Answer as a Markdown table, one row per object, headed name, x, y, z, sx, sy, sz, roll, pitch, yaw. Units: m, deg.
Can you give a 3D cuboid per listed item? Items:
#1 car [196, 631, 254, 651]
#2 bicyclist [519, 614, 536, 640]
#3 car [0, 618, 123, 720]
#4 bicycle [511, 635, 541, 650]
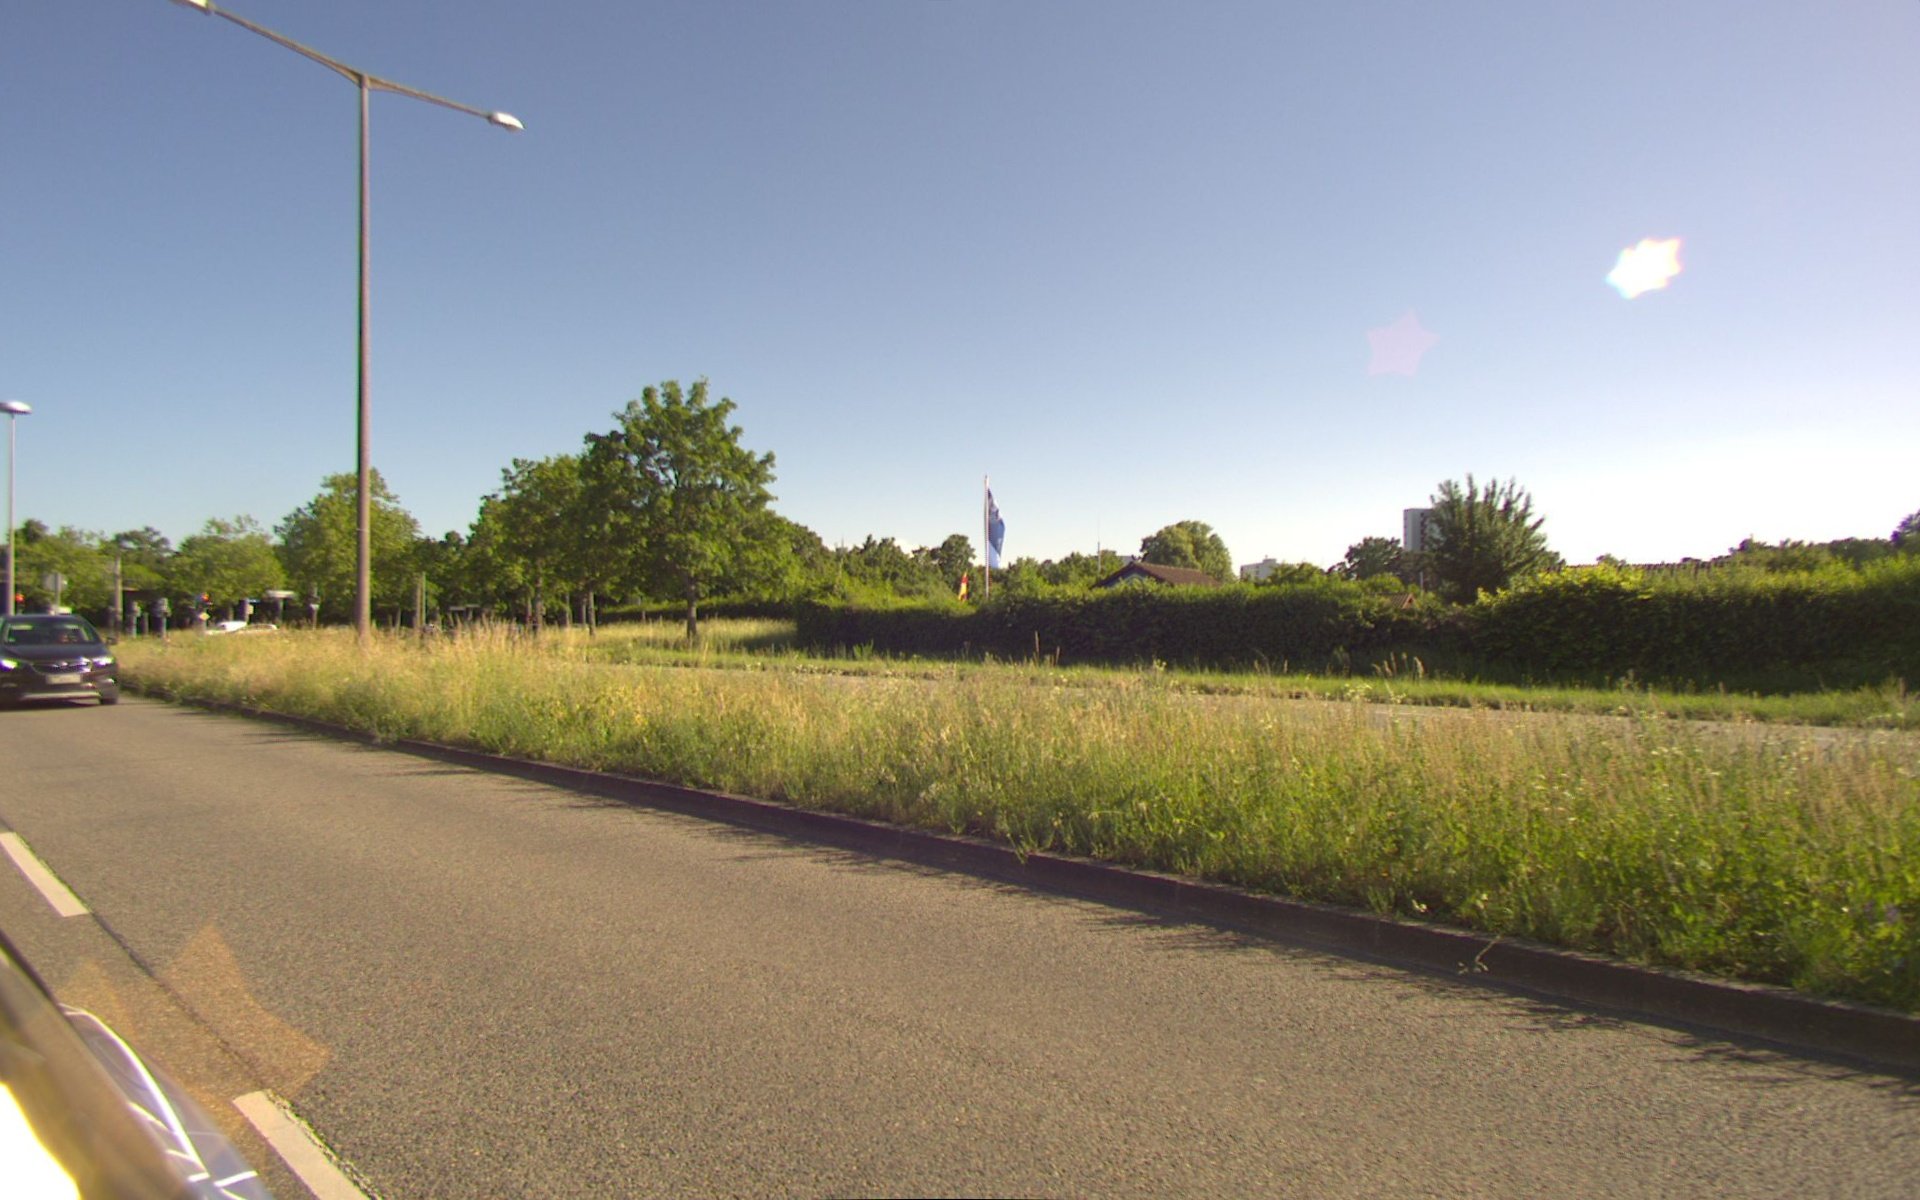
| name | x | y | z | sx | sy | sz | roll | pitch | yaw |
| --- | --- | --- | --- | --- | --- | --- | --- | --- | --- |
| car | -68.024 | 3.786 | 93.716 | 1.772 | 1.768 | 3.956 | -1 | -2 | 32 |
| bicyclist | -21.337 | 1.318 | 49.928 | 0.575 | 1.266 | 0.577 | -2 | -2 | 37 |
| car | -16.754 | 1.192 | 18.426 | 3.854 | 1.675 | 1.692 | -2 | -3 | 41 |
| bicycle | -21.403 | 2.104 | 49.931 | 1.873 | 0.700 | 0.559 | -2 | -2 | 39 |
